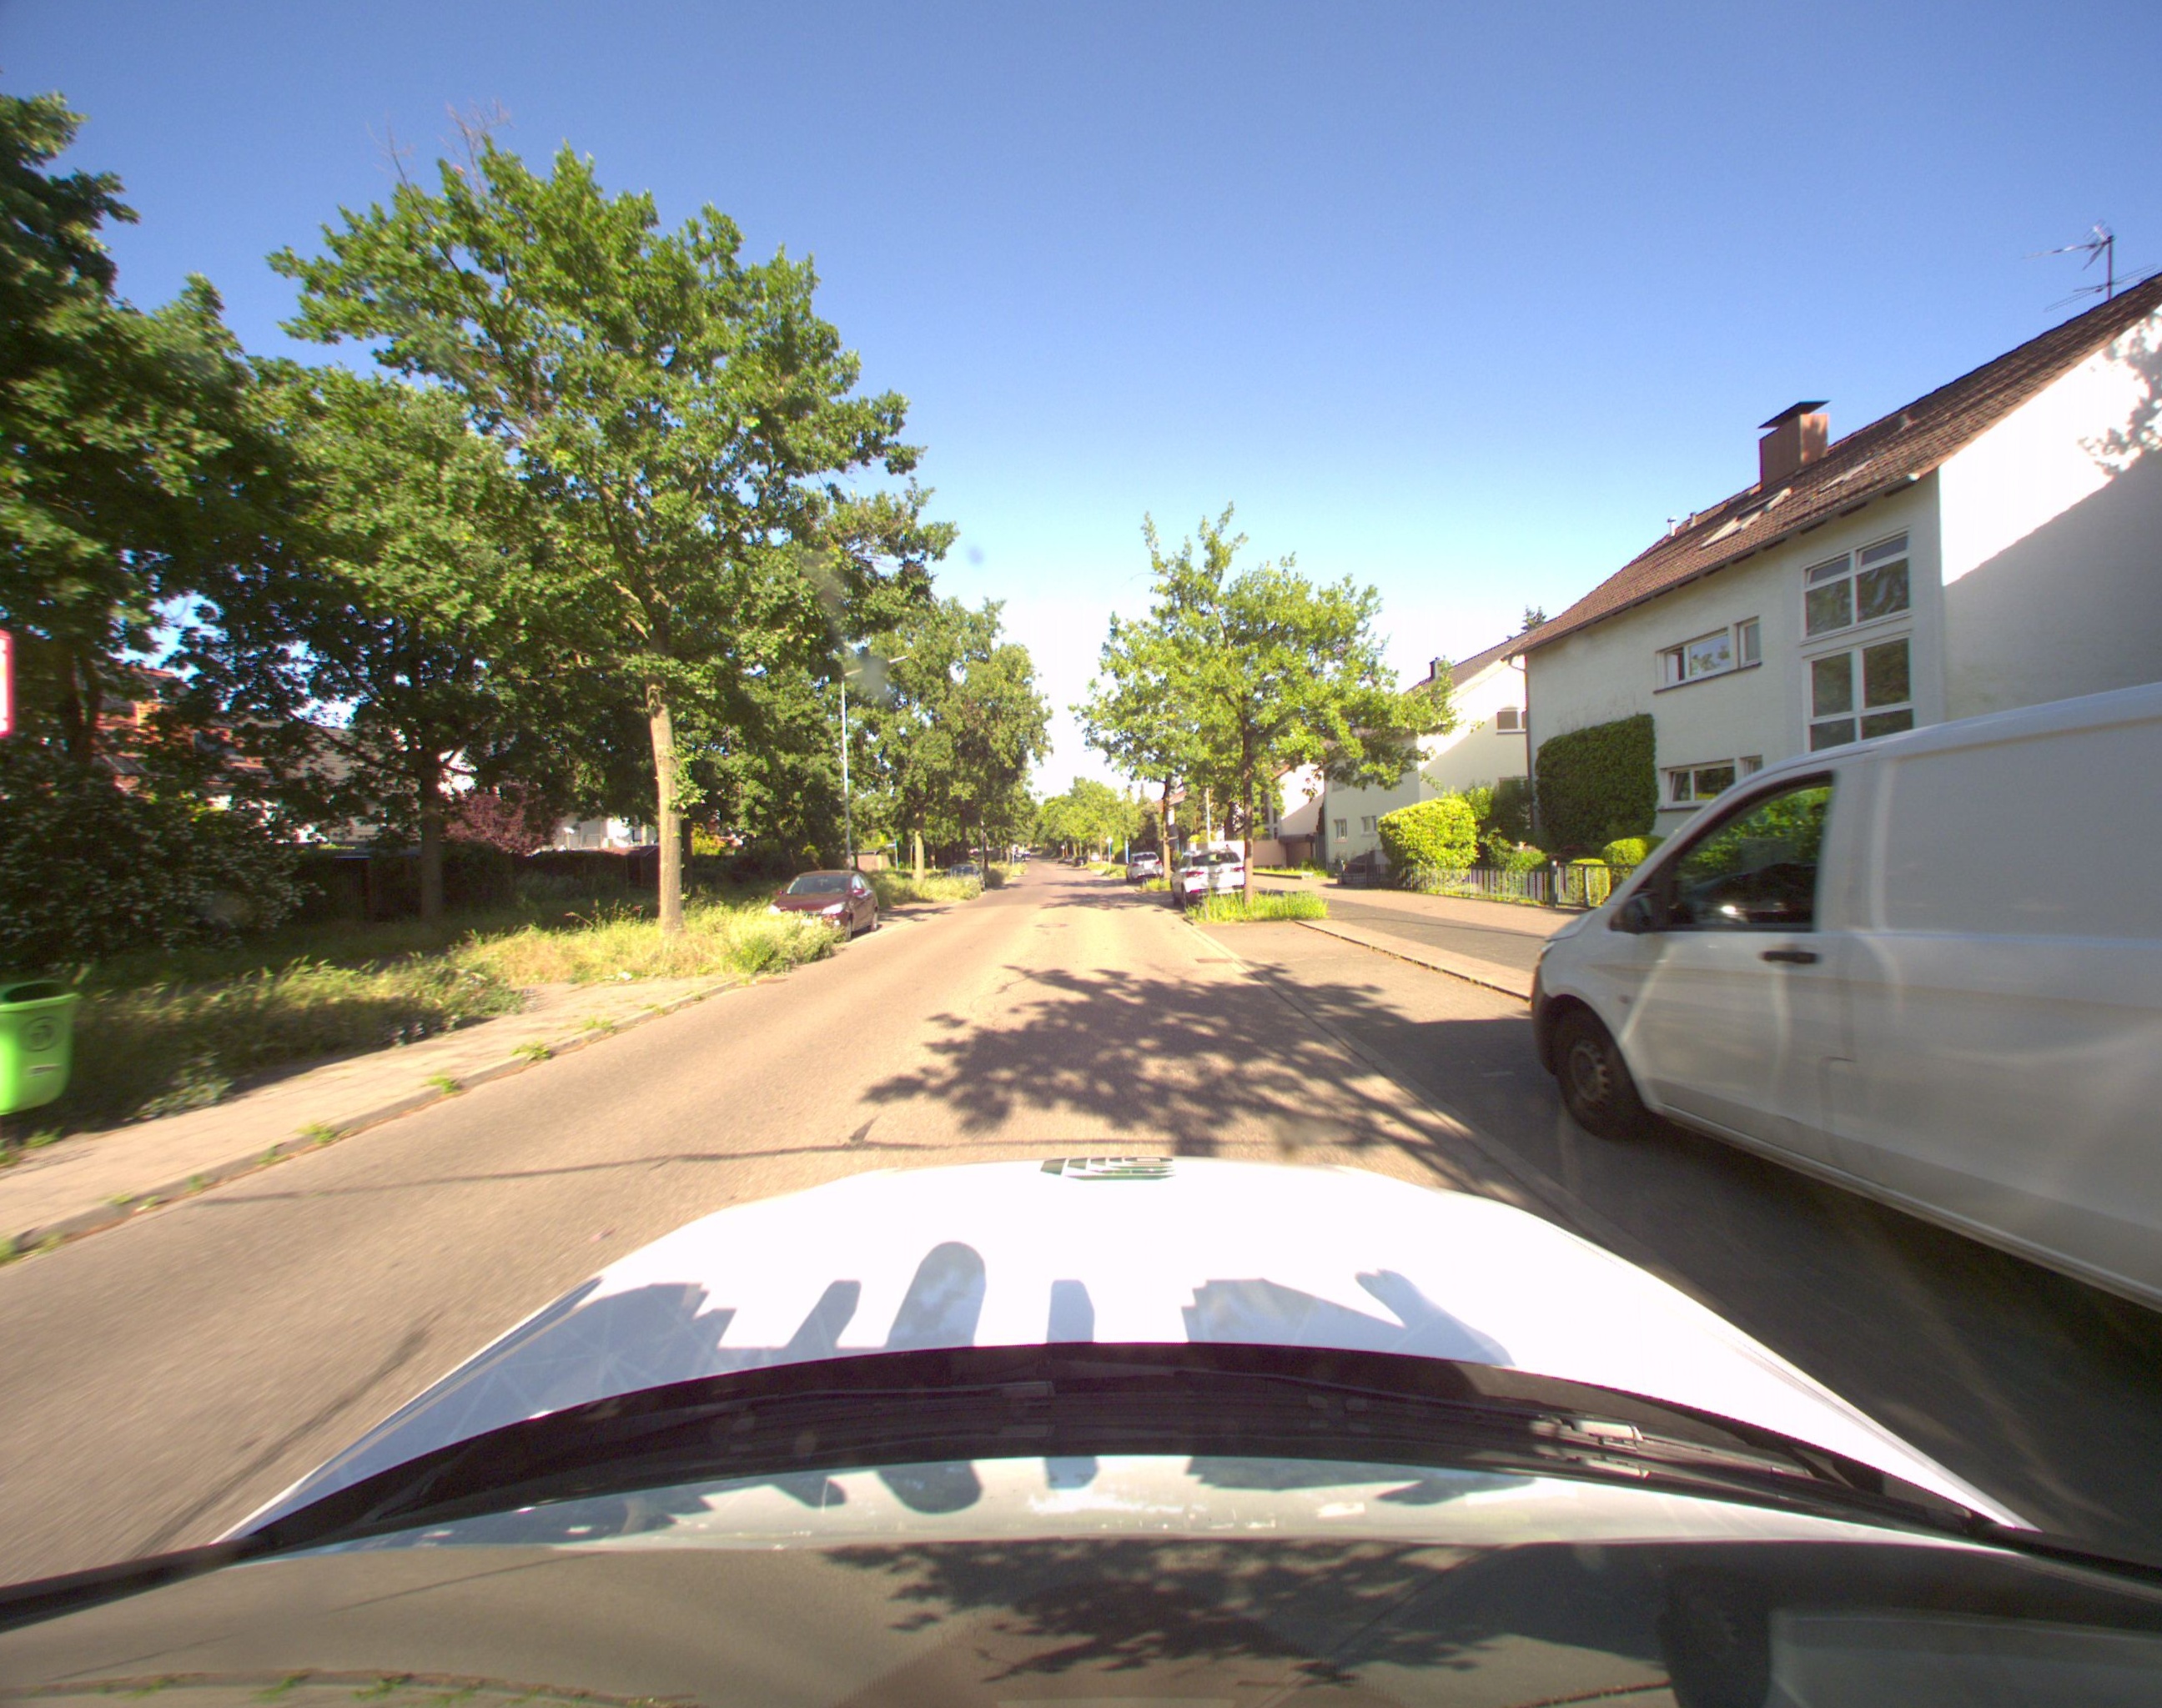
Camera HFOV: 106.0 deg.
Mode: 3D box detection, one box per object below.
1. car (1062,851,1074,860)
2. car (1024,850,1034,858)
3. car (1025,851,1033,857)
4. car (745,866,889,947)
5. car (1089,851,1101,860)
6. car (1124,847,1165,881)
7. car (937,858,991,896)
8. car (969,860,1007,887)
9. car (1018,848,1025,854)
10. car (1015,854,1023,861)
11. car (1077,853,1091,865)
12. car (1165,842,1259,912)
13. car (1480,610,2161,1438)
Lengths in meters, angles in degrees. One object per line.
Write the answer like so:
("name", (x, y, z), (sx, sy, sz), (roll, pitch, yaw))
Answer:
("car", (-2.313, 0.257, 143.120), (1.928, 1.454, 3.998), (-2, 0, -1))
("car", (-10.706, -0.031, 167.663), (1.928, 1.454, 3.998), (-2, 0, -1))
("car", (-13.935, 0.062, 217.660), (1.928, 1.454, 3.998), (-3, 0, -1))
("car", (-5.713, 1.070, 18.157), (1.930, 1.479, 3.997), (-2, 0, -2))
("car", (2.449, 0.267, 140.598), (1.928, 1.454, 3.998), (-2, 0, -1))
("car", (3.491, 0.536, 45.523), (1.927, 1.742, 3.999), (-2, 0, 0))
("car", (-5.302, 1.019, 37.428), (1.989, 1.556, 3.996), (-1, 0, -2))
("car", (-5.603, 1.181, 49.437), (1.790, 1.479, 3.520), (-2, 0, 1))
("car", (-16.740, -0.842, 229.527), (1.750, 1.454, 3.998), (-3, 0, -1))
("car", (-14.800, 0.795, 194.728), (1.750, 1.454, 3.998), (-3, 0, -1))
("car", (0.417, 0.716, 114.554), (1.927, 1.542, 3.999), (-2, 0, 0))
("car", (3.573, 0.585, 22.914), (1.930, 1.704, 3.999), (-2, 0, 0))
("car", (3.467, 0.377, 2.760), (1.830, 1.971, 4.758), (-2, 0, 0))
